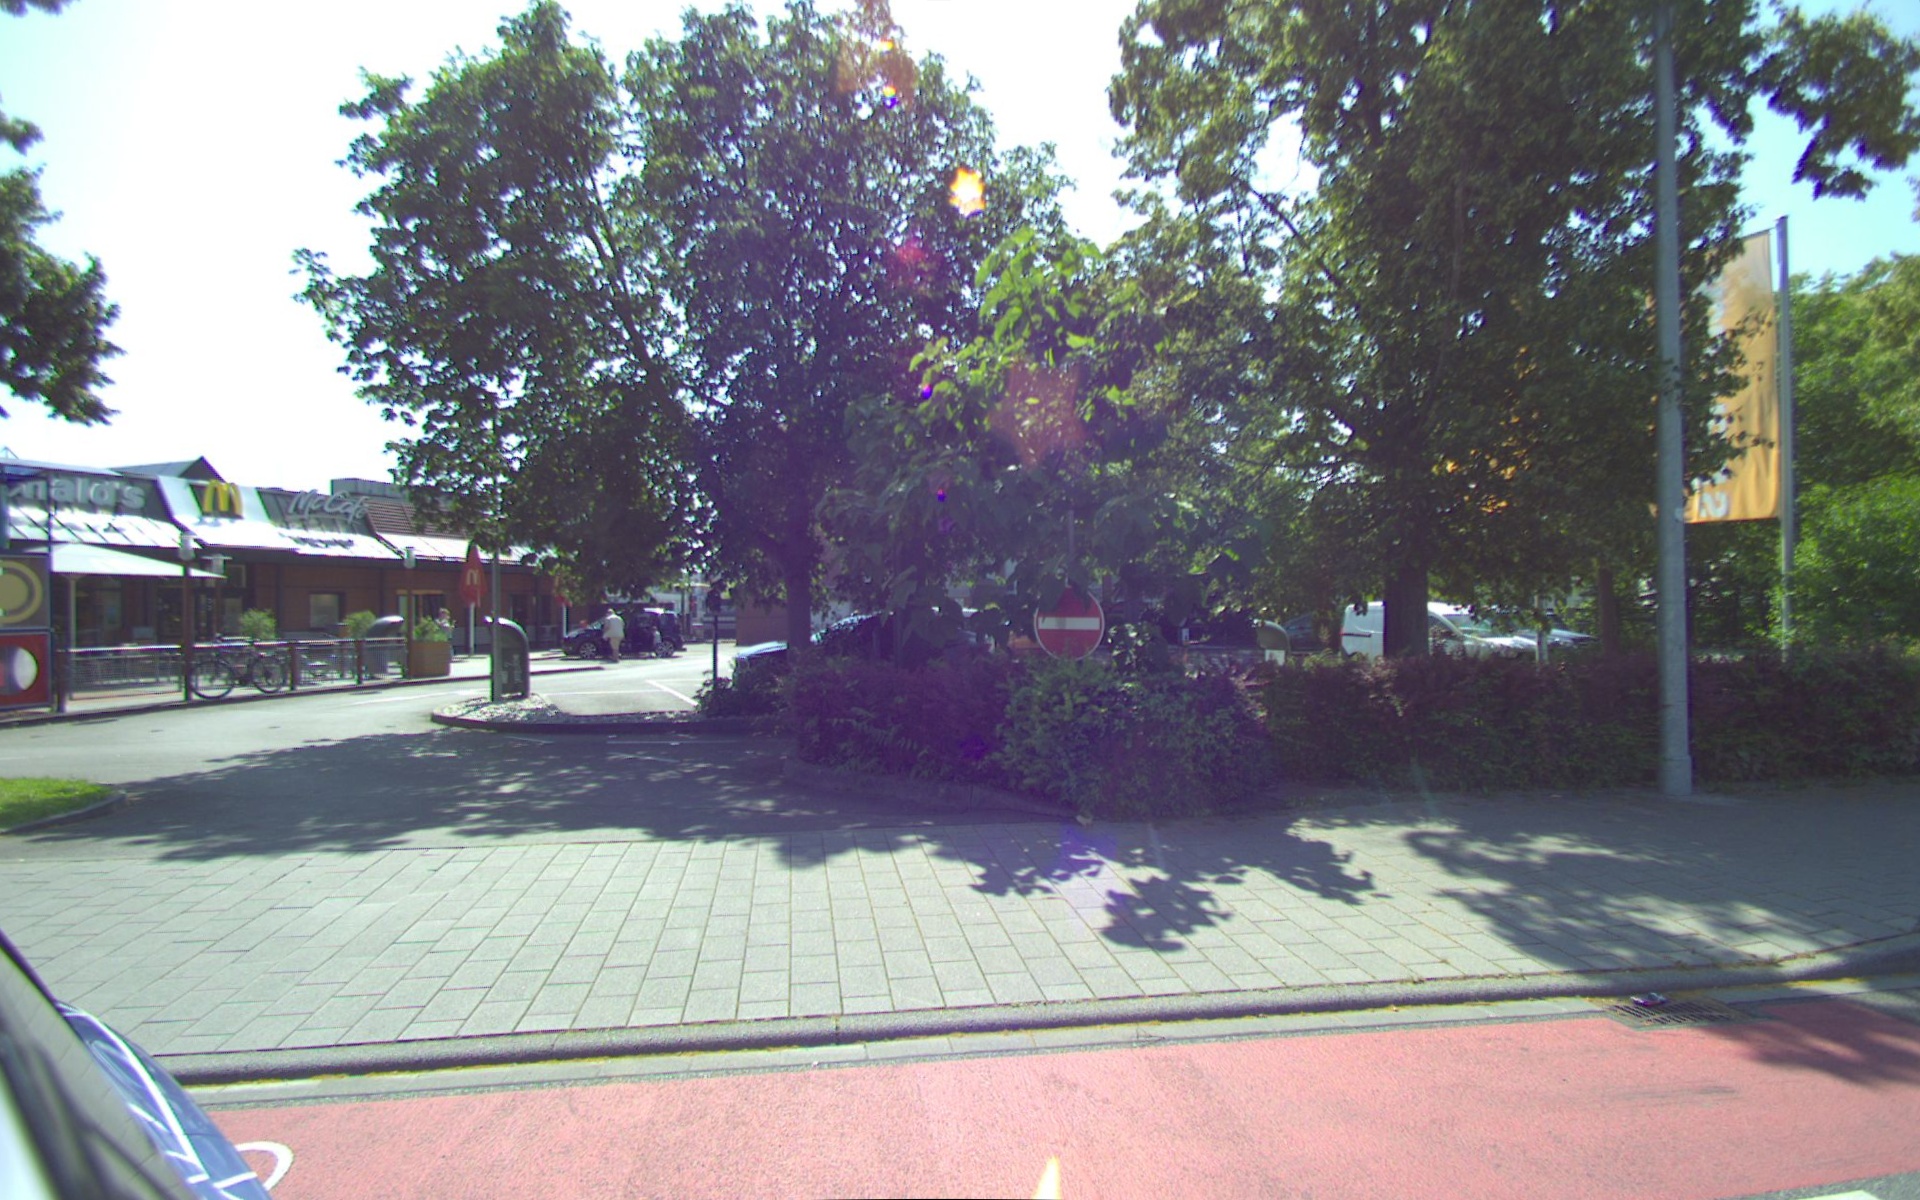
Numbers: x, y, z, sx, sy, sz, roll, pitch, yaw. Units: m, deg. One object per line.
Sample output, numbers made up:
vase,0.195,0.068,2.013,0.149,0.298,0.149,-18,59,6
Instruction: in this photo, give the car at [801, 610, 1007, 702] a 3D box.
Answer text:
car,-1.172,1.135,22.035,4.157,1.812,1.765,0,0,-33

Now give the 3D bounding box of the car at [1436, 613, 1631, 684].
car,14.202,1.135,25.267,1.872,1.595,3.823,0,0,-27

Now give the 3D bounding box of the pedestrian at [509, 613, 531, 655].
pedestrian,-17.513,1.339,40.288,0.538,1.664,0.619,-1,-1,19

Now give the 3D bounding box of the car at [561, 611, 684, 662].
car,-11.644,1.230,34.943,3.931,1.670,1.962,0,-1,-20

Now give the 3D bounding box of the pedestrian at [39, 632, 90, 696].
pedestrian,-18.242,1.290,20.610,0.589,1.219,0.548,3,5,24

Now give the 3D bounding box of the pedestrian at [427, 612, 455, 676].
pedestrian,-13.071,1.104,25.517,0.586,1.579,0.573,0,0,-23

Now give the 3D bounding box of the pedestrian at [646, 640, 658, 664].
pedestrian,-10.350,1.748,34.031,0.358,0.785,0.337,0,-1,-21

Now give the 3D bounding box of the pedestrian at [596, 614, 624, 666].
pedestrian,-11.270,1.264,32.537,0.819,1.650,0.791,0,-1,-21

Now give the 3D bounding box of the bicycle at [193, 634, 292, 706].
bicycle,-13.274,1.268,18.769,0.307,1.195,1.601,2,2,21

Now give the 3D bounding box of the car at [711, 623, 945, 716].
car,-2.374,1.194,18.560,3.932,1.505,1.661,0,-1,-32

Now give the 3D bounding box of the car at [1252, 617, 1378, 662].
car,12.669,1.377,36.404,4.134,1.529,1.755,0,0,16

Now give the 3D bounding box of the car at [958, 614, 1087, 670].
car,1.946,1.264,31.560,3.659,1.644,1.674,0,0,-23

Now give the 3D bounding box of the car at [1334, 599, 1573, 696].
car,10.374,0.941,21.654,1.719,1.841,4.367,-1,-1,-29

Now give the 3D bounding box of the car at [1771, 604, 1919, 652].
car,31.271,0.948,35.675,1.615,1.600,3.862,0,0,-25
